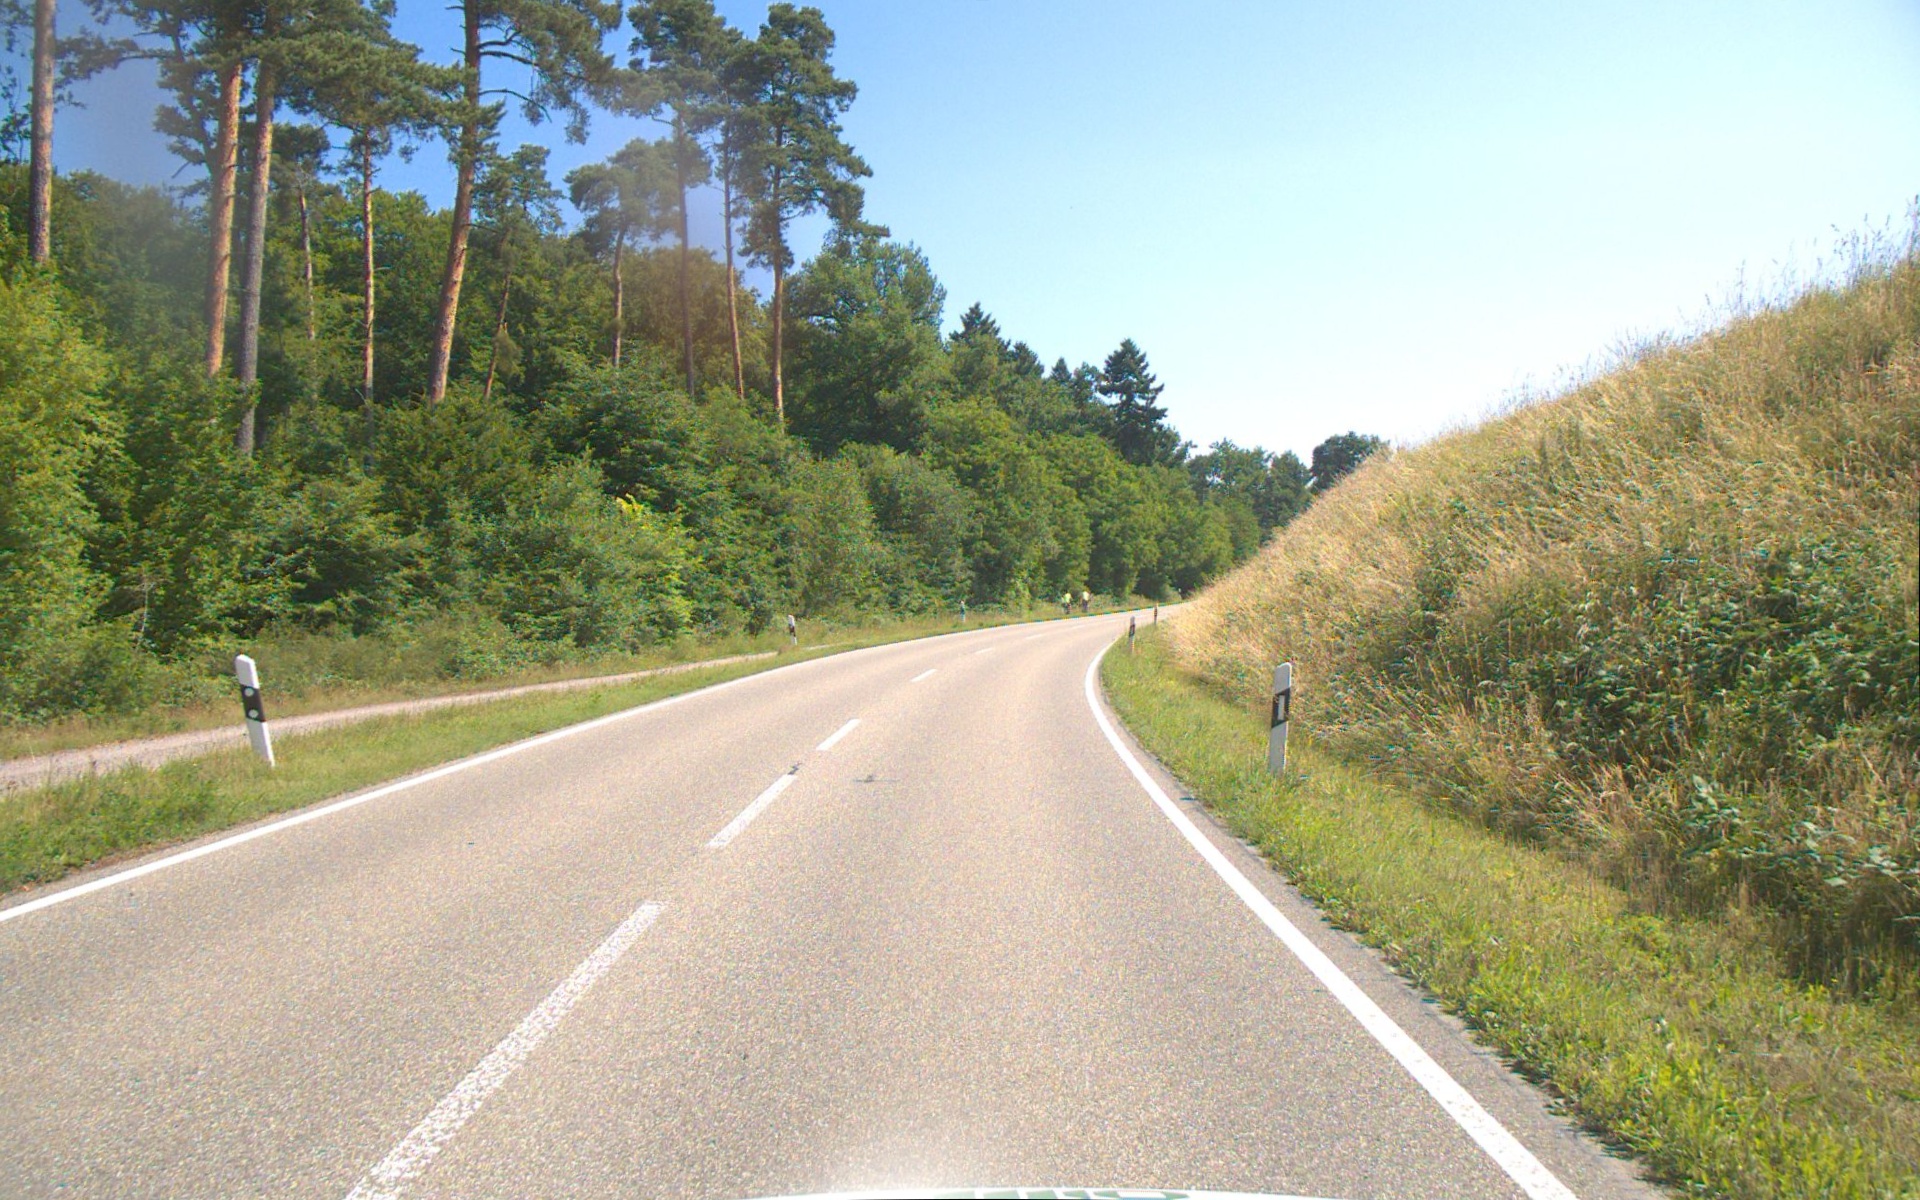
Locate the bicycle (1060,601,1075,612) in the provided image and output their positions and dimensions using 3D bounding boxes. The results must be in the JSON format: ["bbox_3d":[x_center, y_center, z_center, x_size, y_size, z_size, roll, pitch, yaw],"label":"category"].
[{"bbox_3d":[7.072,0.428,109.001,0.606,0.693,2.138,-2,0,14],"label":"bicycle"}]

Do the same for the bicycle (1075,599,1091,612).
[{"bbox_3d":[8.046,0.341,108.172,0.626,0.802,2.138,-2,0,14],"label":"bicycle"}]

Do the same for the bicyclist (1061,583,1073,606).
[{"bbox_3d":[7.049,-0.360,109.020,0.592,1.440,0.703,-2,0,15],"label":"bicyclist"}]

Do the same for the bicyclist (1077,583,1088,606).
[{"bbox_3d":[8.039,-0.358,108.248,0.592,1.440,0.703,-1,0,15],"label":"bicyclist"}]
